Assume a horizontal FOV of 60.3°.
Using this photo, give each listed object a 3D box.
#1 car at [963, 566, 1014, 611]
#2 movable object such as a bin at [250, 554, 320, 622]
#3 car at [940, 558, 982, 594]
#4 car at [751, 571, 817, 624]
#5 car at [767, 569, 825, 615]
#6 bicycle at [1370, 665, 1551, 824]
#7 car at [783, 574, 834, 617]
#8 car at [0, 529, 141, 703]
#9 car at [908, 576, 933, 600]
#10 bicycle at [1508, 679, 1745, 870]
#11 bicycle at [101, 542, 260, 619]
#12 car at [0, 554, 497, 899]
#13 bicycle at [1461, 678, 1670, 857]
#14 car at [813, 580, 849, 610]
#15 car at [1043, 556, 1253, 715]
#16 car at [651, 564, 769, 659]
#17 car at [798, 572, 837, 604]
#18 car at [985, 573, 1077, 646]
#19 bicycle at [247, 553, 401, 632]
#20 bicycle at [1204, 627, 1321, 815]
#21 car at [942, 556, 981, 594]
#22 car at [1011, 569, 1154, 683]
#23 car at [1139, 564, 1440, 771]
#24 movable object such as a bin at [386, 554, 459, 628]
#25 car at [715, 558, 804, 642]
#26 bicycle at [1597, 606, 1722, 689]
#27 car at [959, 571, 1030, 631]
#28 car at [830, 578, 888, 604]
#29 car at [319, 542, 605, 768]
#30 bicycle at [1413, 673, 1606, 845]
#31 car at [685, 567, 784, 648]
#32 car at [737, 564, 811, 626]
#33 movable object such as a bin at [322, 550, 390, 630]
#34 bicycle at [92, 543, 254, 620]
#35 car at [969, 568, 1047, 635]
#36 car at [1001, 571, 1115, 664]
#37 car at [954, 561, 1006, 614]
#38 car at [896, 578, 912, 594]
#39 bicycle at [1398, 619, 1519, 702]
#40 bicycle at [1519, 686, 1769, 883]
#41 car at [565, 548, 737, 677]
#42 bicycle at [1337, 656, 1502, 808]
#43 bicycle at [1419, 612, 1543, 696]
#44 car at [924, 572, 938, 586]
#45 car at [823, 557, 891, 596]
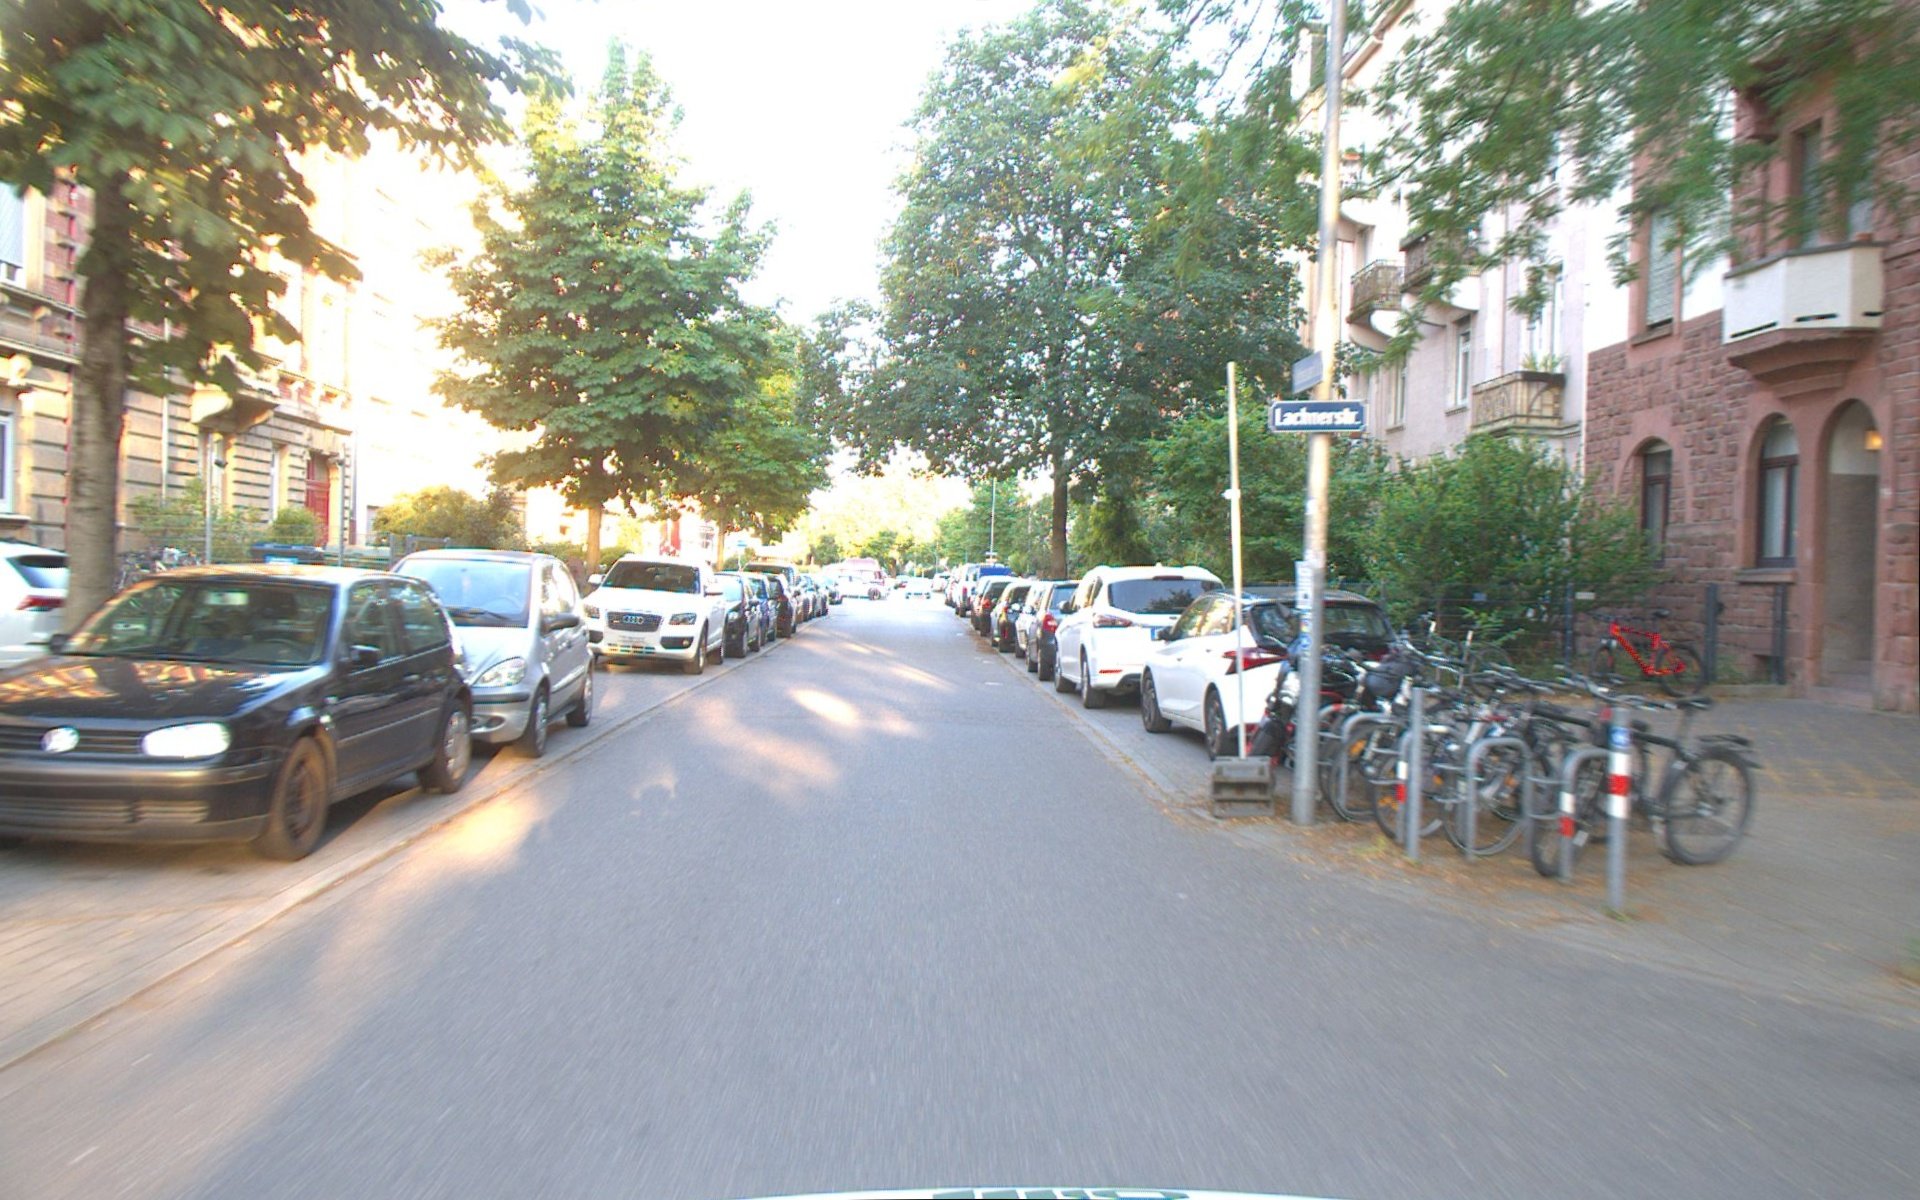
[{"bbox_3d":[1.022,-0.430,60.519,1.508,1.548,3.429,2,0,-4],"label":"car"},{"bbox_3d":[-13.122,-0.244,32.172,1.079,1.230,1.001,3,1,-16],"label":"movable object such as a bin"},{"bbox_3d":[0.029,-1.157,79.508,1.653,1.634,3.936,2,0,-4],"label":"car"},{"bbox_3d":[-5.394,-0.105,51.050,1.681,1.490,3.986,2,1,-2],"label":"car"},{"bbox_3d":[-5.496,-0.296,55.736,1.681,1.466,3.629,2,1,-2],"label":"car"},{"bbox_3d":[3.289,0.929,10.852,1.208,0.964,0.328,0,2,-24],"label":"bicycle"},{"bbox_3d":[-5.584,-0.203,61.343,1.566,1.466,3.837,2,1,-1],"label":"car"},{"bbox_3d":[-10.498,0.011,16.174,4.012,1.553,1.708,5,1,-3],"label":"car"},{"bbox_3d":[-2.889,-0.883,119.876,1.776,1.624,3.482,2,1,-2],"label":"car"},{"bbox_3d":[3.703,0.960,9.213,1.200,1.005,0.330,0,2,-6],"label":"bicycle"},{"bbox_3d":[-14.276,-0.355,30.339,2.485,1.212,0.641,4,1,-13],"label":"bicycle"},{"bbox_3d":[-4.009,0.521,9.353,1.583,1.496,3.962,2,1,1],"label":"car"},{"bbox_3d":[3.579,0.971,9.769,1.205,0.980,0.329,0,2,-19],"label":"bicycle"},{"bbox_3d":[-6.916,-0.294,89.116,1.681,1.466,3.630,2,1,-1],"label":"car"},{"bbox_3d":[2.211,0.372,20.696,1.762,1.741,4.597,1,0,-4],"label":"car"},{"bbox_3d":[-4.570,0.189,30.657,1.681,1.593,3.780,2,0,-2],"label":"car"},{"bbox_3d":[-7.158,-0.597,83.516,1.681,1.511,3.630,2,0,-1],"label":"car"},{"bbox_3d":[1.491,0.177,35.938,1.653,1.466,4.208,0,1,-2],"label":"car"},{"bbox_3d":[-11.376,-0.146,29.616,2.476,1.212,0.644,4,1,4],"label":"bicycle"},{"bbox_3d":[2.155,0.804,11.647,0.434,1.193,1.636,2,1,23],"label":"bicycle"},{"bbox_3d":[0.032,-1.278,84.447,1.653,1.843,3.936,2,0,-4],"label":"car"},{"bbox_3d":[1.875,0.359,26.529,1.653,1.634,4.206,2,0,-4],"label":"car"},{"bbox_3d":[2.840,0.510,15.048,1.654,1.620,3.655,1,1,-6],"label":"car"},{"bbox_3d":[-10.425,-0.185,32.098,0.992,1.343,1.005,4,1,3],"label":"movable object such as a bin"},{"bbox_3d":[-4.703,-0.045,39.364,1.681,1.821,4.214,2,1,-2],"label":"car"},{"bbox_3d":[8.984,0.607,21.260,1.479,1.052,0.330,0,2,-4],"label":"bicycle"},{"bbox_3d":[0.968,0.001,48.239,1.653,1.634,3.936,2,0,-4],"label":"car"},{"bbox_3d":[-6.344,-0.577,103.778,3.548,1.486,1.605,2,1,-6],"label":"car"},{"bbox_3d":[-4.089,0.372,14.139,1.564,1.631,3.741,2,1,-5],"label":"car"},{"bbox_3d":[3.380,0.954,10.155,1.208,0.974,0.328,0,2,-24],"label":"bicycle"},{"bbox_3d":[-4.774,0.112,35.470,1.681,1.593,3.787,2,1,-2],"label":"car"},{"bbox_3d":[-5.245,-0.180,47.057,1.681,1.624,4.518,2,1,-2],"label":"car"},{"bbox_3d":[-11.633,-0.202,31.889,1.079,1.438,1.001,3,1,-16],"label":"movable object such as a bin"},{"bbox_3d":[-14.166,-0.333,29.829,2.485,1.212,0.641,4,1,-13],"label":"bicycle"},{"bbox_3d":[1.228,0.019,44.020,1.653,1.634,3.936,2,0,-4],"label":"car"},{"bbox_3d":[1.821,0.298,31.766,1.653,1.634,3.745,2,0,-4],"label":"car"},{"bbox_3d":[0.737,-0.487,64.317,1.647,1.975,3.877,2,0,-4],"label":"car"},{"bbox_3d":[-6.200,-1.543,183.855,1.681,1.624,3.482,2,1,-2],"label":"car"},{"bbox_3d":[6.486,0.781,21.551,1.479,1.052,0.330,0,2,-4],"label":"bicycle"},{"bbox_3d":[3.650,0.978,8.851,1.199,1.004,0.330,0,2,-3],"label":"bicycle"},{"bbox_3d":[-4.620,0.128,25.348,1.883,1.747,4.426,2,1,-2],"label":"car"},{"bbox_3d":[3.191,0.896,11.462,1.211,0.967,0.327,0,2,-30],"label":"bicycle"},{"bbox_3d":[6.630,0.681,21.072,1.479,1.052,0.330,0,2,-4],"label":"bicycle"},{"bbox_3d":[-3.591,-2.599,203.197,1.681,1.624,3.482,2,1,-2],"label":"car"},{"bbox_3d":[-6.610,-1.541,106.374,4.263,2.358,1.744,2,1,-4],"label":"car"}]
